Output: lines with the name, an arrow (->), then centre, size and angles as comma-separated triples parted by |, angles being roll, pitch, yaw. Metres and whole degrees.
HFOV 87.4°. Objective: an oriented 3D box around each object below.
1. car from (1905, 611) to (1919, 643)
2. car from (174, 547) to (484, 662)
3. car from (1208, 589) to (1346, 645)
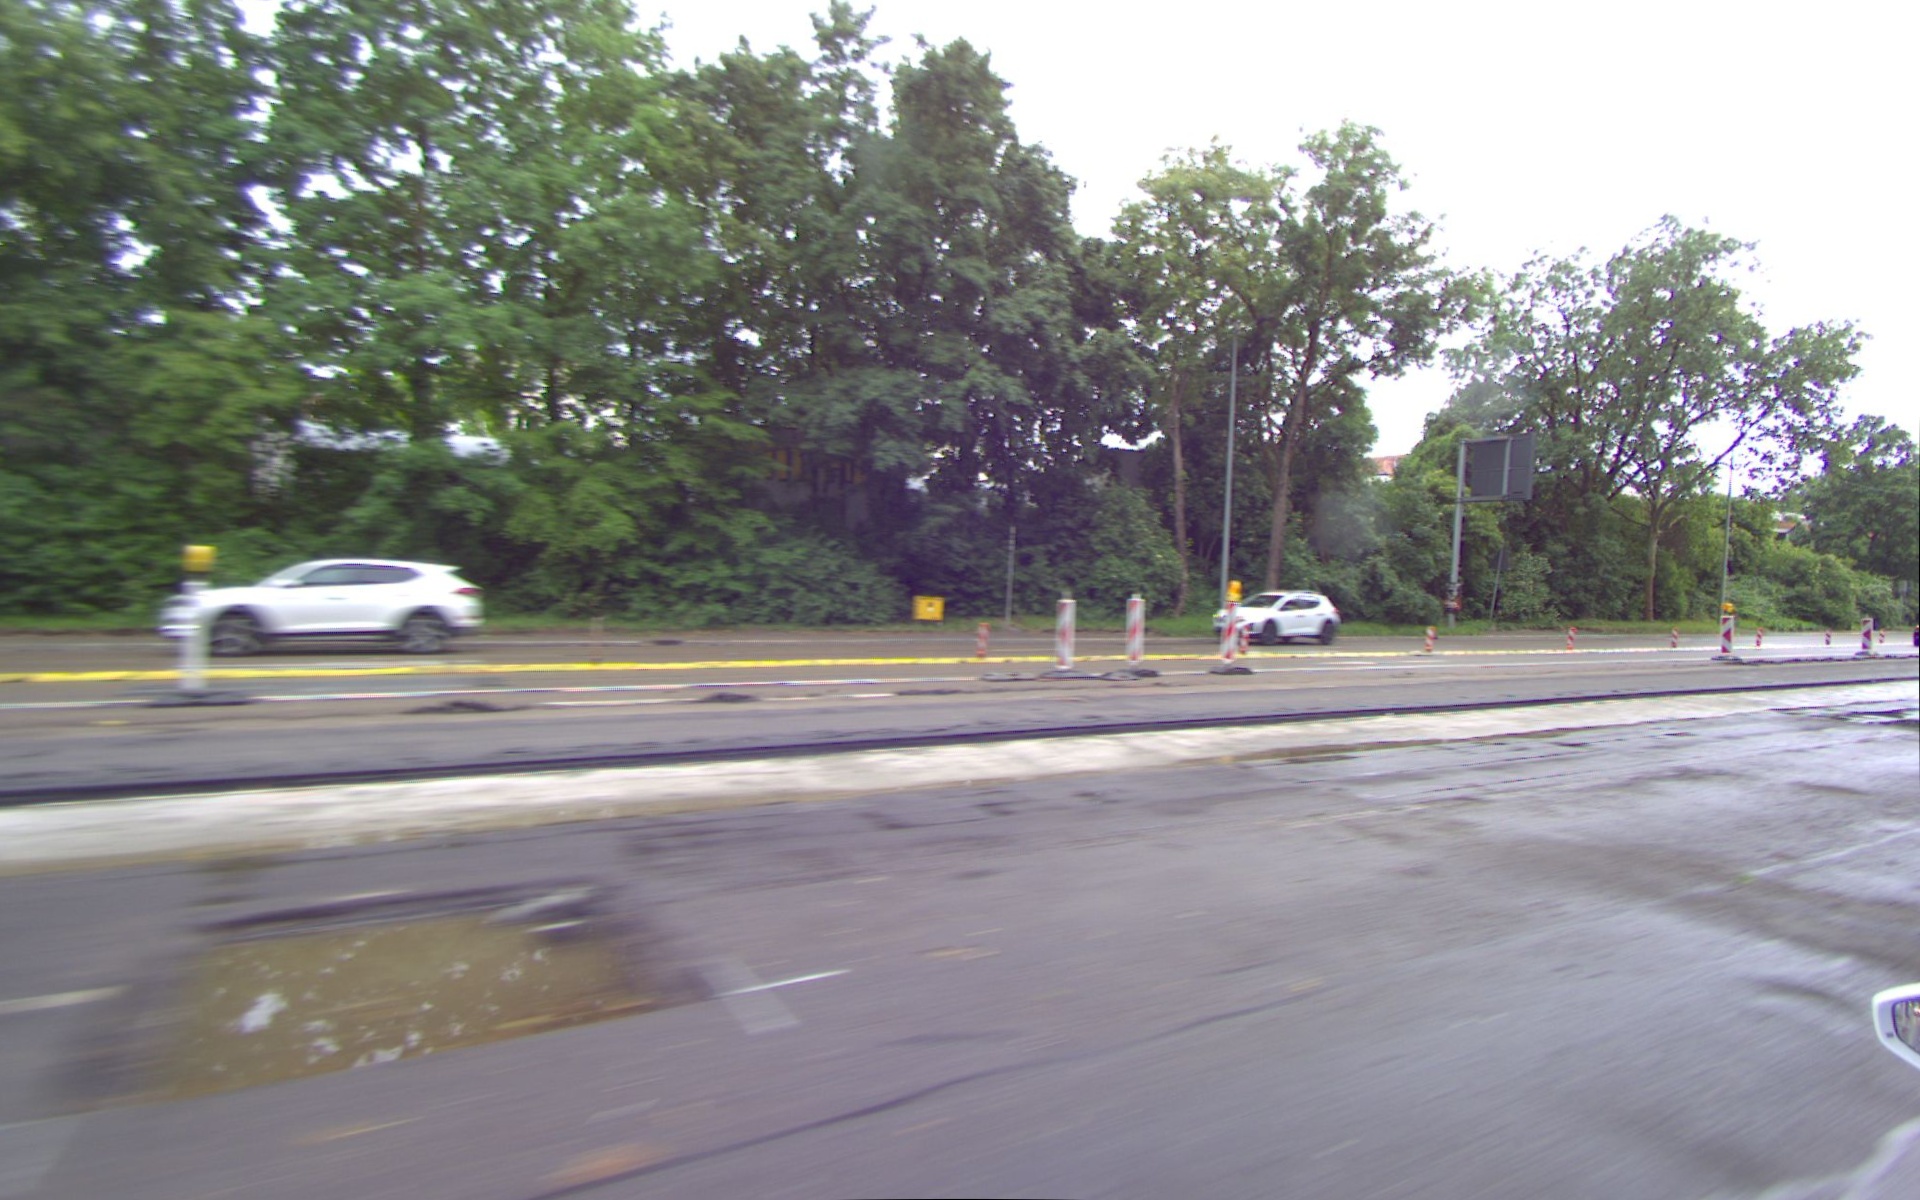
car -> 44.938, 1.273, 45.927 | 3.998, 1.423, 1.598 | 1, 2, -34
car -> -10.738, 0.083, 17.400 | 4.332, 1.774, 1.766 | 1, 1, -33
car -> 9.461, 0.512, 29.897 | 4.111, 1.561, 1.658 | 1, -1, -32
